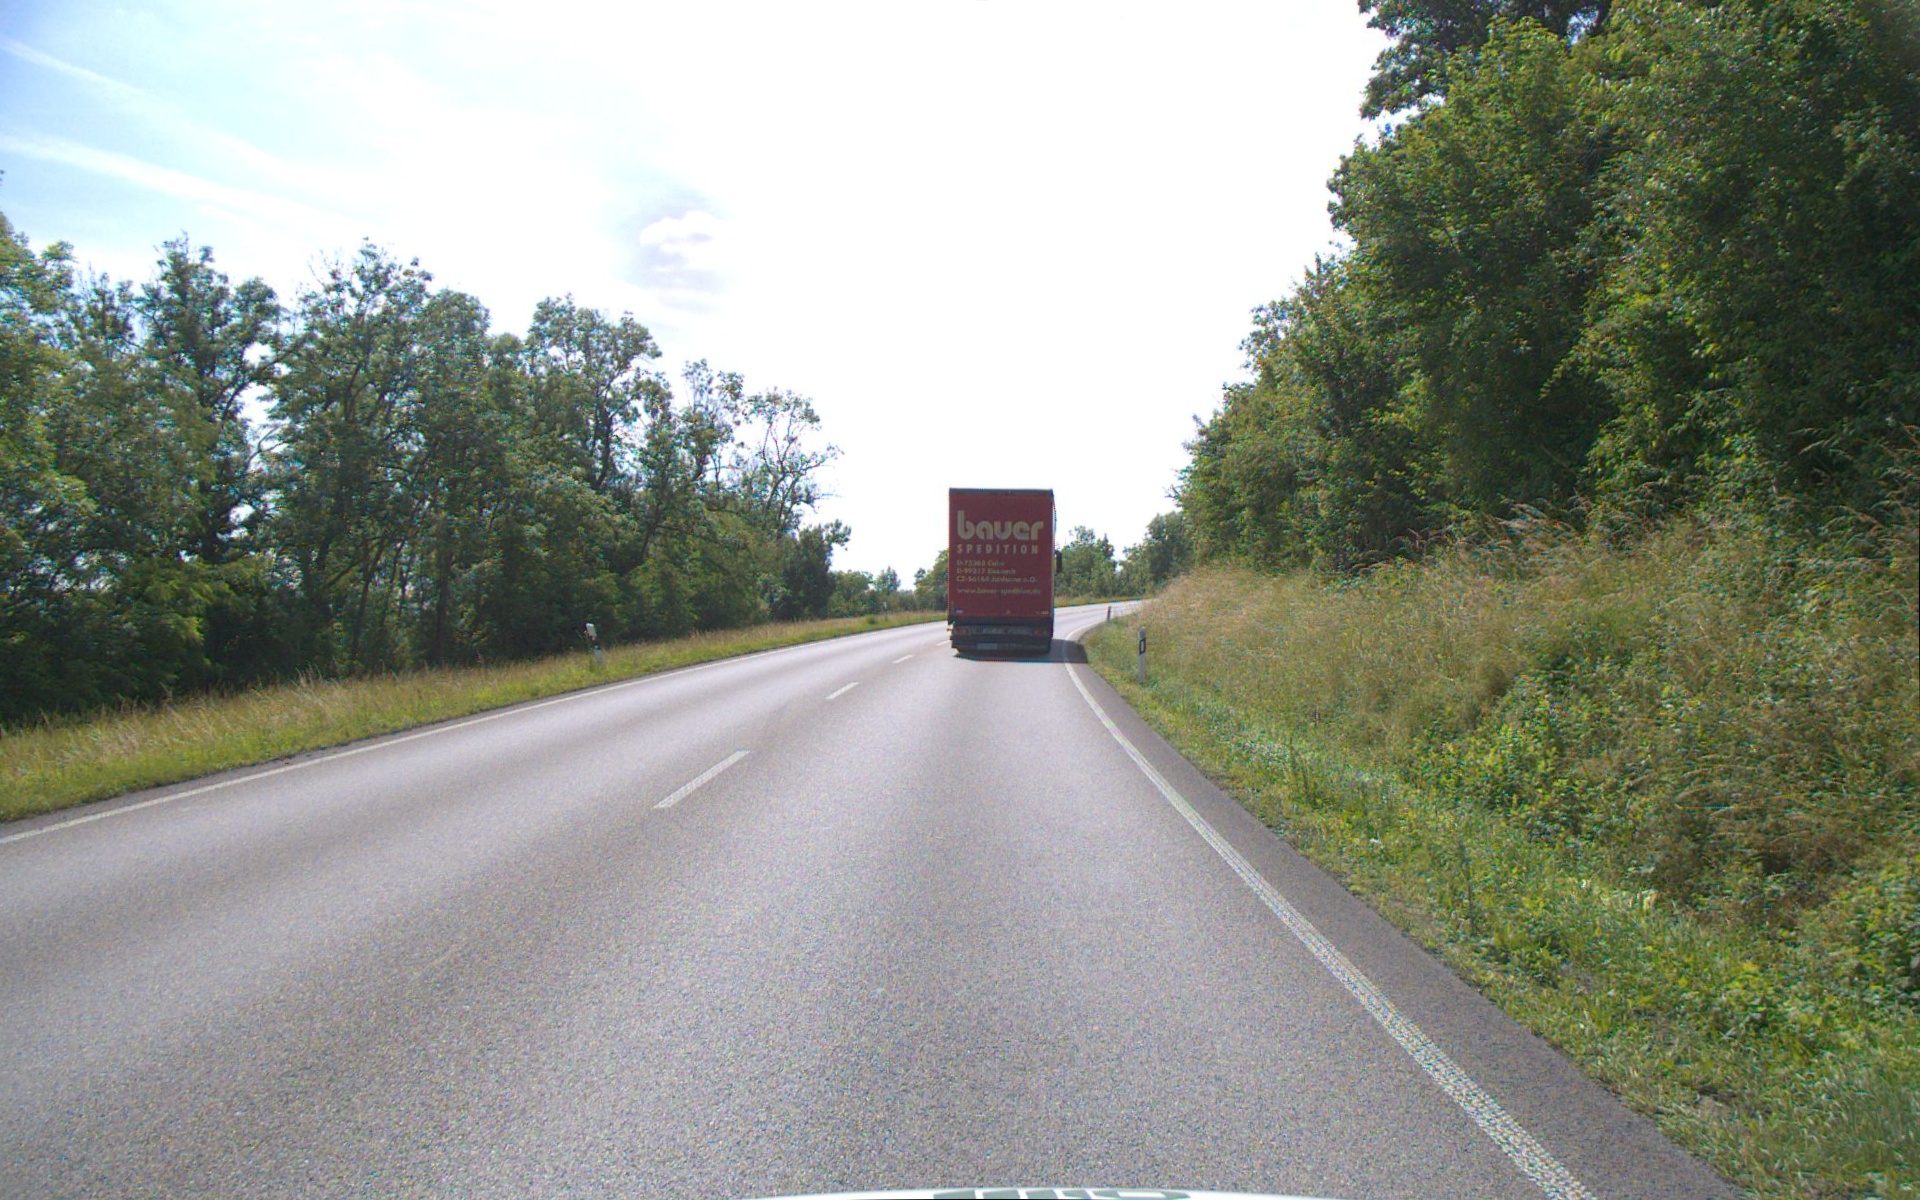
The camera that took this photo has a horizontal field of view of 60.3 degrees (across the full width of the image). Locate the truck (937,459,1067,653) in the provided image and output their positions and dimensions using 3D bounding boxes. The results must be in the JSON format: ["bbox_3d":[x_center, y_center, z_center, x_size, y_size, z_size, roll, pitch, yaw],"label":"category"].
[{"bbox_3d":[1.236,-1.057,45.196,3.047,4.584,12.171,0,0,2],"label":"truck"}]
